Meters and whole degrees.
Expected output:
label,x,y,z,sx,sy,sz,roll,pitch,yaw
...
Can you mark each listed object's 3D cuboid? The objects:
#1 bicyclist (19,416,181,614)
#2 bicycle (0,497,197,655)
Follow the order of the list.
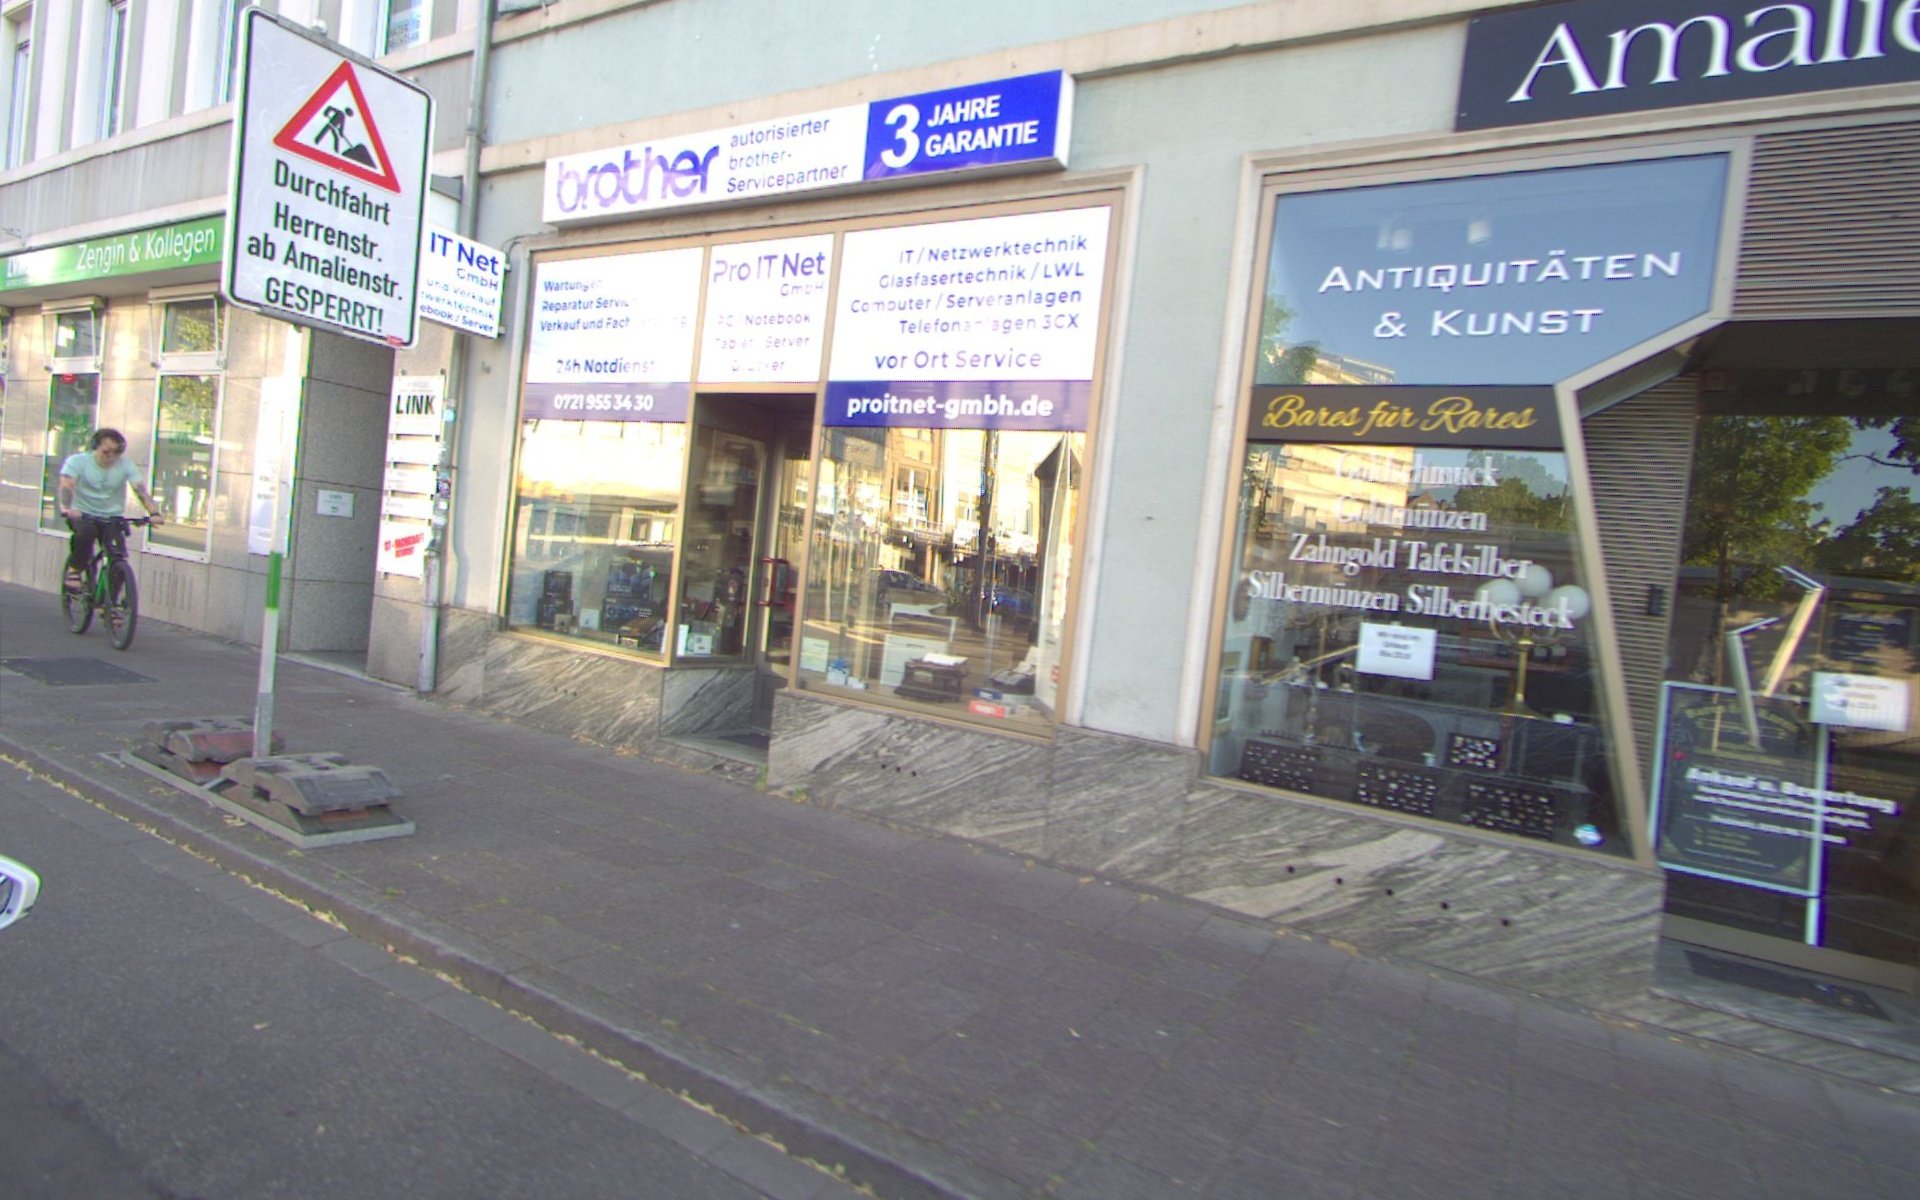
label,x,y,z,sx,sy,sz,roll,pitch,yaw
bicyclist,-7.258,-0.707,8.493,0.885,1.527,0.722,7,2,32
bicycle,-7.357,-0.219,8.548,1.864,1.121,0.691,7,2,31
